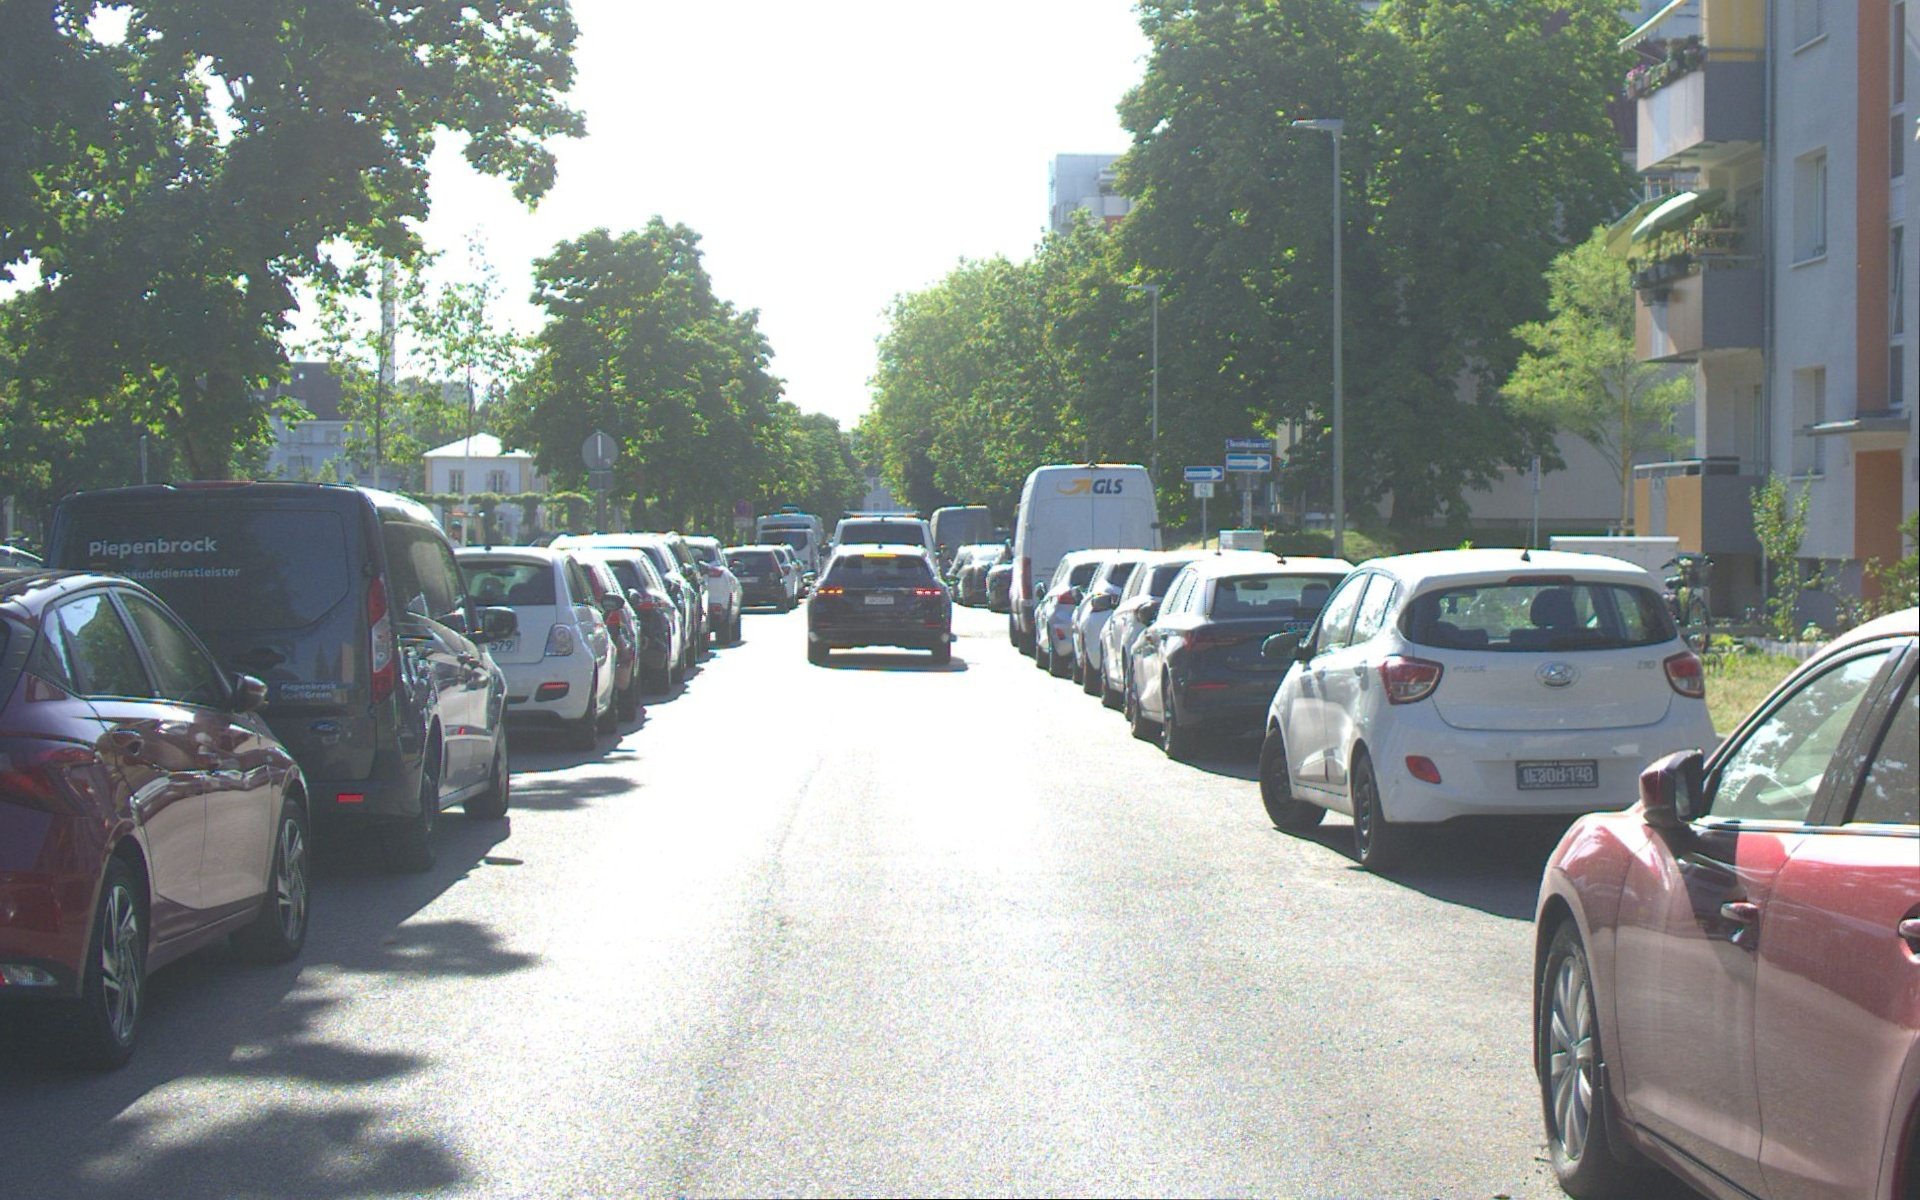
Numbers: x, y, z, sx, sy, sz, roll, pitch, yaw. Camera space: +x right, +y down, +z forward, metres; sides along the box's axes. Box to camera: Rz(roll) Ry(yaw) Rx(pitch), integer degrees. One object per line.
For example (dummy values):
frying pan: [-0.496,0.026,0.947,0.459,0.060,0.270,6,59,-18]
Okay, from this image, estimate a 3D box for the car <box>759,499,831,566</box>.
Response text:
car: [-6.609,-2.706,138.159,2.616,2.636,6.114,0,1,0]

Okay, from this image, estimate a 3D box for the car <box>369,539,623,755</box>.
car: [-3.485,0.298,26.328,1.586,1.487,3.686,-2,1,-3]

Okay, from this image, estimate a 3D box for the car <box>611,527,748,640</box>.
car: [-4.328,-0.290,53.567,1.756,1.641,4.287,-1,1,0]

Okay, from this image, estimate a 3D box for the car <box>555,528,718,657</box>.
car: [-4.374,-0.147,47.046,1.842,1.633,4.715,-1,1,-1]

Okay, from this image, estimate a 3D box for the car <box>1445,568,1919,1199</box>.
car: [2.311,0.703,6.664,1.843,1.467,5.066,0,1,-2]

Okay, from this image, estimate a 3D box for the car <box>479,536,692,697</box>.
car: [-3.847,0.118,35.937,1.873,1.514,4.471,-2,1,-2]

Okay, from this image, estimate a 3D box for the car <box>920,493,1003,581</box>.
car: [0.008,-1.967,106.911,2.162,2.680,5.417,0,1,-4]

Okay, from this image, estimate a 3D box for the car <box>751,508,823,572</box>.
car: [-5.321,-1.858,106.314,2.098,1.936,4.127,0,1,-1]

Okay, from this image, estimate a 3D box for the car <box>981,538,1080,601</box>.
car: [1.605,-0.724,79.447,2.125,1.333,4.506,-2,1,0]

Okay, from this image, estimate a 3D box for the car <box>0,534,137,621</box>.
car: [-16.592,-0.404,59.324,4.333,1.404,1.921,0,3,-25]

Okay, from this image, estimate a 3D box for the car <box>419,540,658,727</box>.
car: [-3.691,0.237,30.770,1.755,1.487,4.669,-2,1,-3]

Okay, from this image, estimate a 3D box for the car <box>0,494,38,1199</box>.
car: [-3.047,0.646,5.170,2.026,1.620,4.757,-1,1,0]

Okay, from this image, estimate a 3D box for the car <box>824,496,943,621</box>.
car: [-1.254,-0.717,58.201,1.894,1.984,4.010,-1,1,0]

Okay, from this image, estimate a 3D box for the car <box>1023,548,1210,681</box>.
car: [1.843,0.136,41.666,1.848,1.461,4.202,1,1,-3]

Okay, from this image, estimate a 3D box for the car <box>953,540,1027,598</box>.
car: [0.720,-0.787,85.389,1.779,1.366,4.127,0,1,0]

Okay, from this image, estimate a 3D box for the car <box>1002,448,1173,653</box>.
car: [1.758,-0.735,49.622,2.142,2.703,6.842,-1,1,0]

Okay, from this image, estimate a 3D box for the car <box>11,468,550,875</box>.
car: [-3.263,0.290,17.512,1.864,1.778,4.992,0,0,-1]

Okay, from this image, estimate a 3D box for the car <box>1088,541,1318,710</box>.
car: [2.165,0.183,31.605,1.721,1.430,4.153,0,1,-1]

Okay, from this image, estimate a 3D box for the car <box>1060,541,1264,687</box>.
car: [2.113,0.107,36.982,1.878,1.470,4.140,0,1,-1]

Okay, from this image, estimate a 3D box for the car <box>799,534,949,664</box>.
car: [-1.049,-0.048,43.639,1.779,1.526,4.000,1,1,0]

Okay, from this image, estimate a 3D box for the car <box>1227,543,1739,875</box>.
car: [2.539,0.462,17.598,1.747,1.494,3.862,0,1,-5]

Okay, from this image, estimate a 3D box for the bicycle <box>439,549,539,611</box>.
bicycle: [-8.515,-0.363,62.220,1.760,1.123,0.663,0,0,-4]

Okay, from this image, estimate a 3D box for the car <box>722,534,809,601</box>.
car: [-4.507,-0.758,80.141,1.777,1.490,3.875,-2,1,0]

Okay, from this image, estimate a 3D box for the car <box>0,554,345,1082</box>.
car: [-3.164,0.569,11.437,1.538,1.423,4.088,0,1,0]

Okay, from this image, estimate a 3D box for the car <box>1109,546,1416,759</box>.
car: [2.205,0.330,26.175,1.699,1.430,4.472,-1,1,-3]

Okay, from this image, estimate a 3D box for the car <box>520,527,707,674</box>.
car: [-4.068,-0.046,40.962,1.819,1.604,4.739,-1,1,-1]

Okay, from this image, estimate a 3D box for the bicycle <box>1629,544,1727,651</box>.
bicycle: [8.076,-0.024,38.726,0.596,1.172,2.014,0,0,-2]

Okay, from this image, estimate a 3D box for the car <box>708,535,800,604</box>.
car: [-4.509,-0.659,75.620,1.748,1.420,3.916,-2,0,0]

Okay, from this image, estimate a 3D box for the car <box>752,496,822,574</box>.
car: [-5.643,-2.124,112.718,2.098,2.488,4.127,0,1,0]
